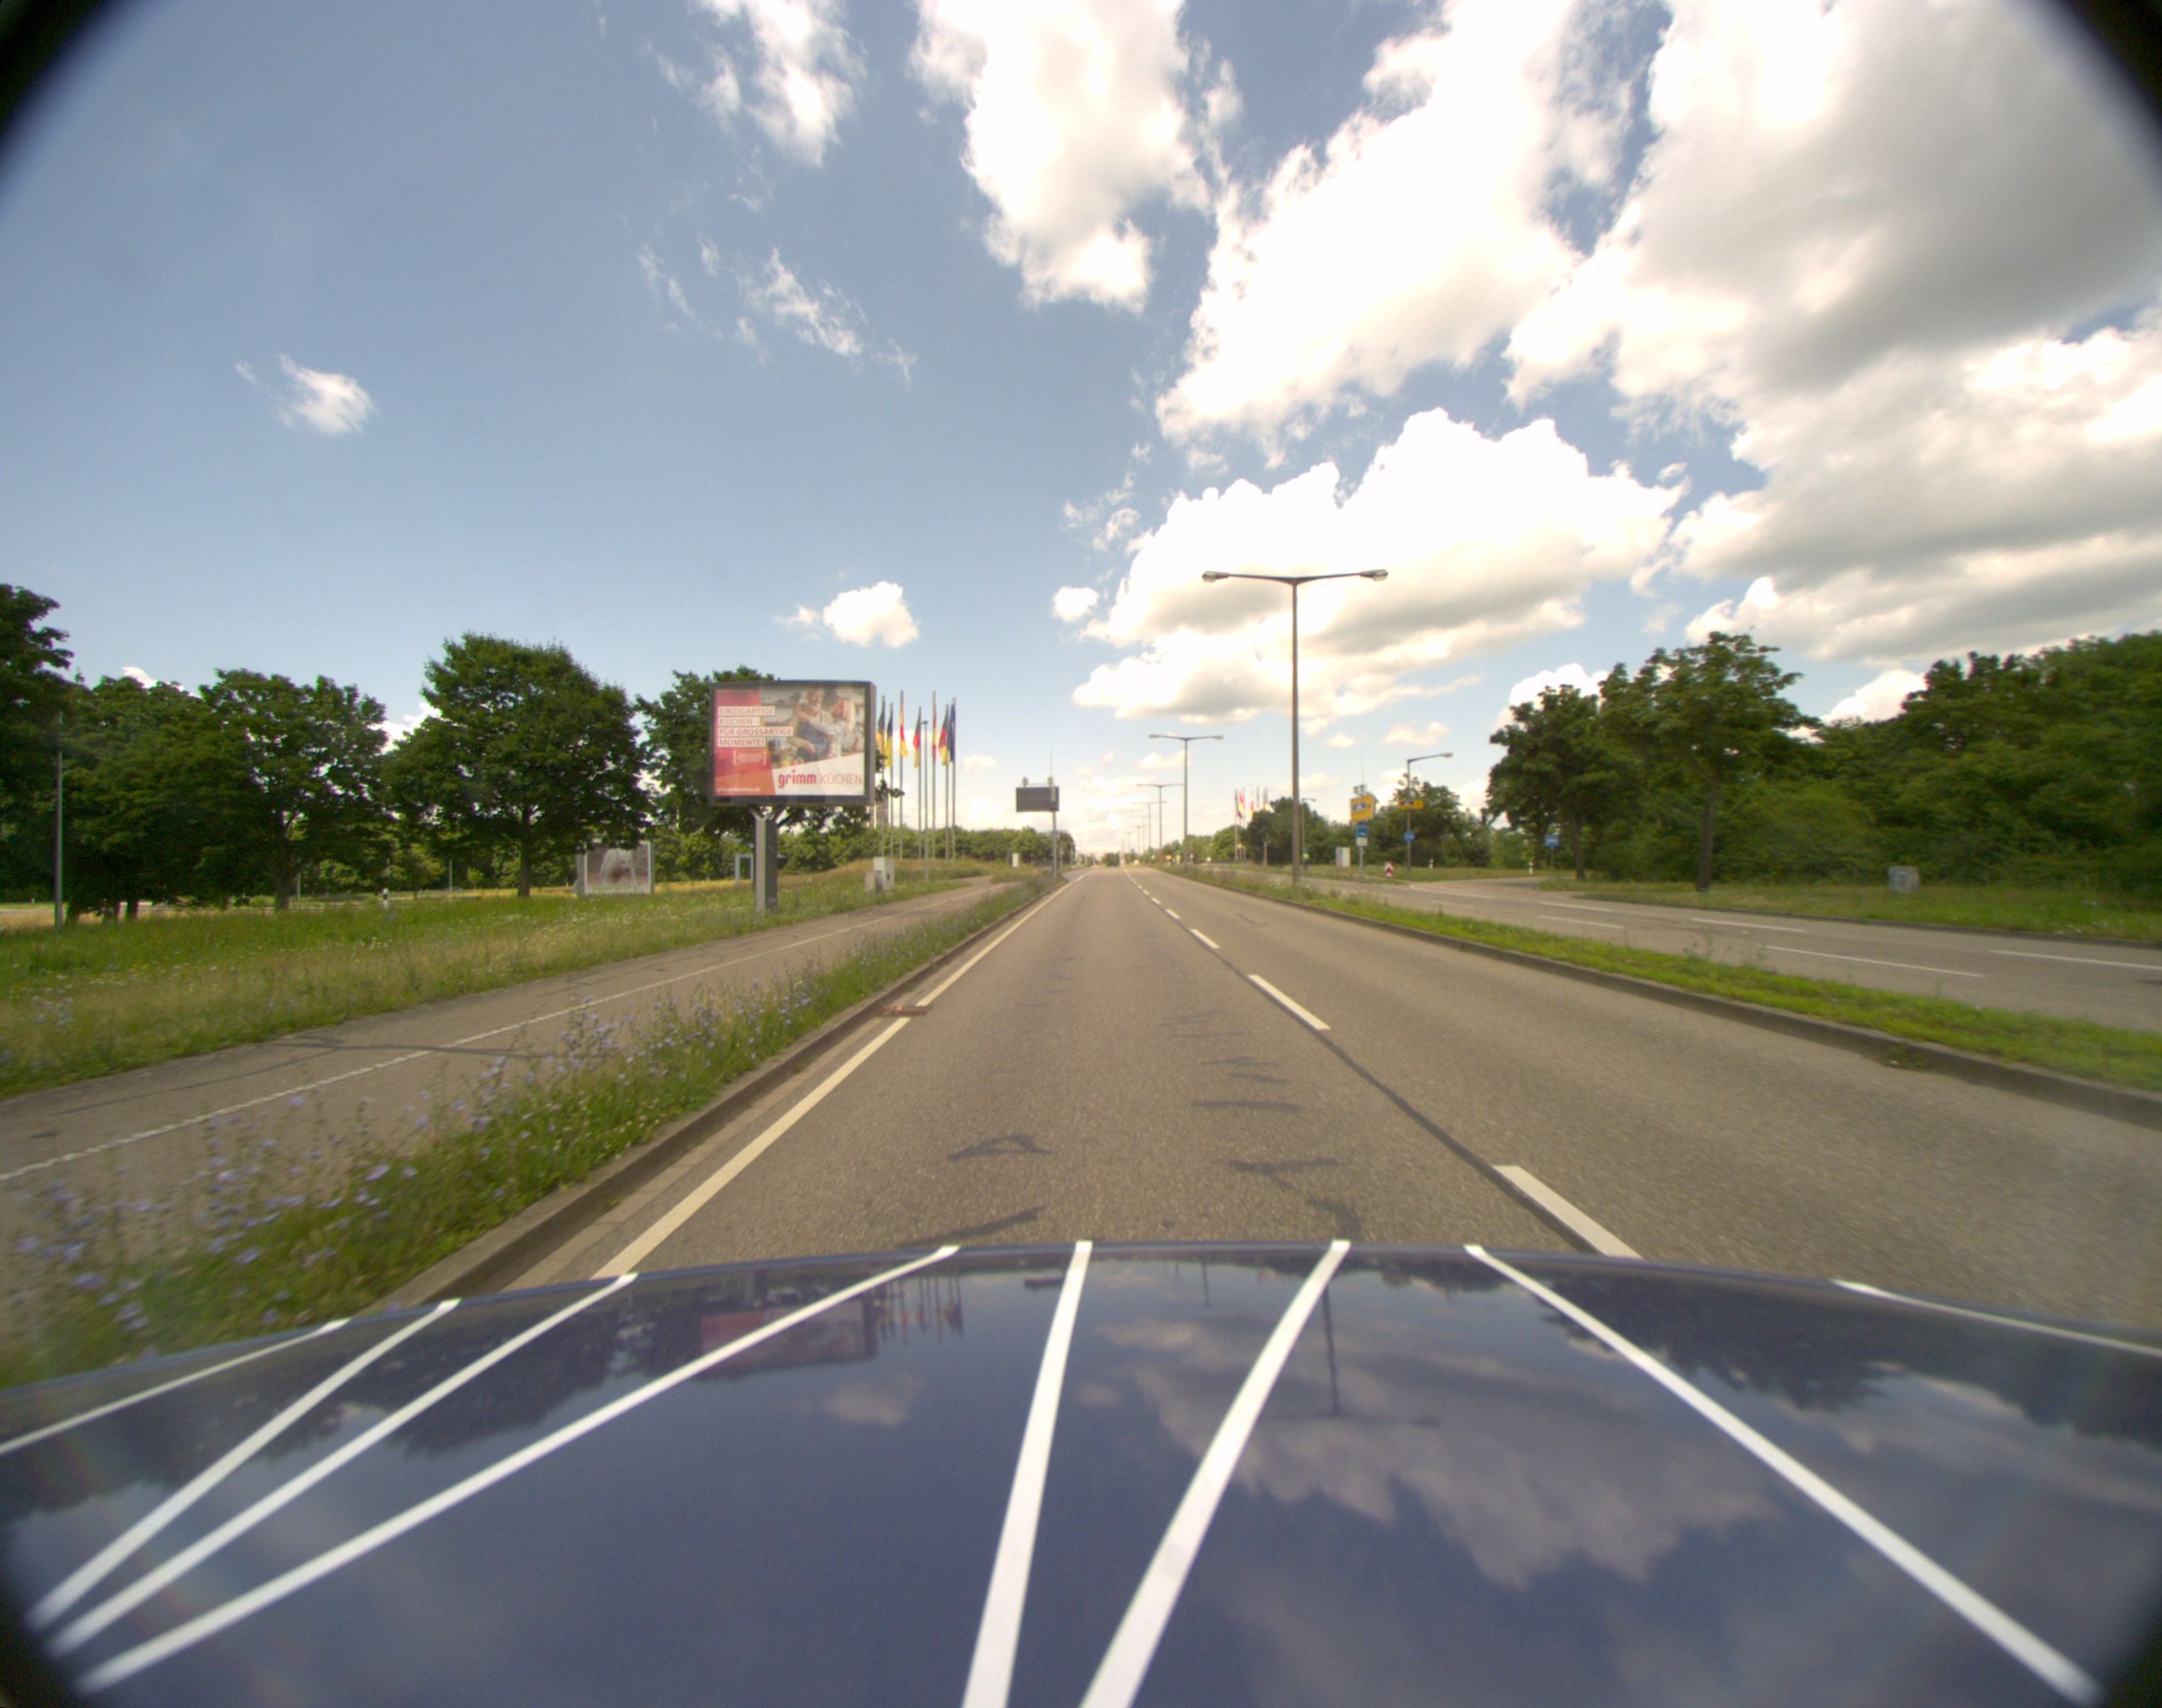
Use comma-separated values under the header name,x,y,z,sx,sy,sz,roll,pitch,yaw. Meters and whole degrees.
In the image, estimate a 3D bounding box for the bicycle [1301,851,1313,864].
name,x,y,z,sx,sy,sz,roll,pitch,yaw
bicycle,19.394,0.280,65.206,0.433,1.062,1.908,-2,-1,-1

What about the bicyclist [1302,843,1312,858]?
name,x,y,z,sx,sy,sz,roll,pitch,yaw
bicyclist,19.377,-0.279,65.174,0.522,1.264,1.107,-2,-1,-1
